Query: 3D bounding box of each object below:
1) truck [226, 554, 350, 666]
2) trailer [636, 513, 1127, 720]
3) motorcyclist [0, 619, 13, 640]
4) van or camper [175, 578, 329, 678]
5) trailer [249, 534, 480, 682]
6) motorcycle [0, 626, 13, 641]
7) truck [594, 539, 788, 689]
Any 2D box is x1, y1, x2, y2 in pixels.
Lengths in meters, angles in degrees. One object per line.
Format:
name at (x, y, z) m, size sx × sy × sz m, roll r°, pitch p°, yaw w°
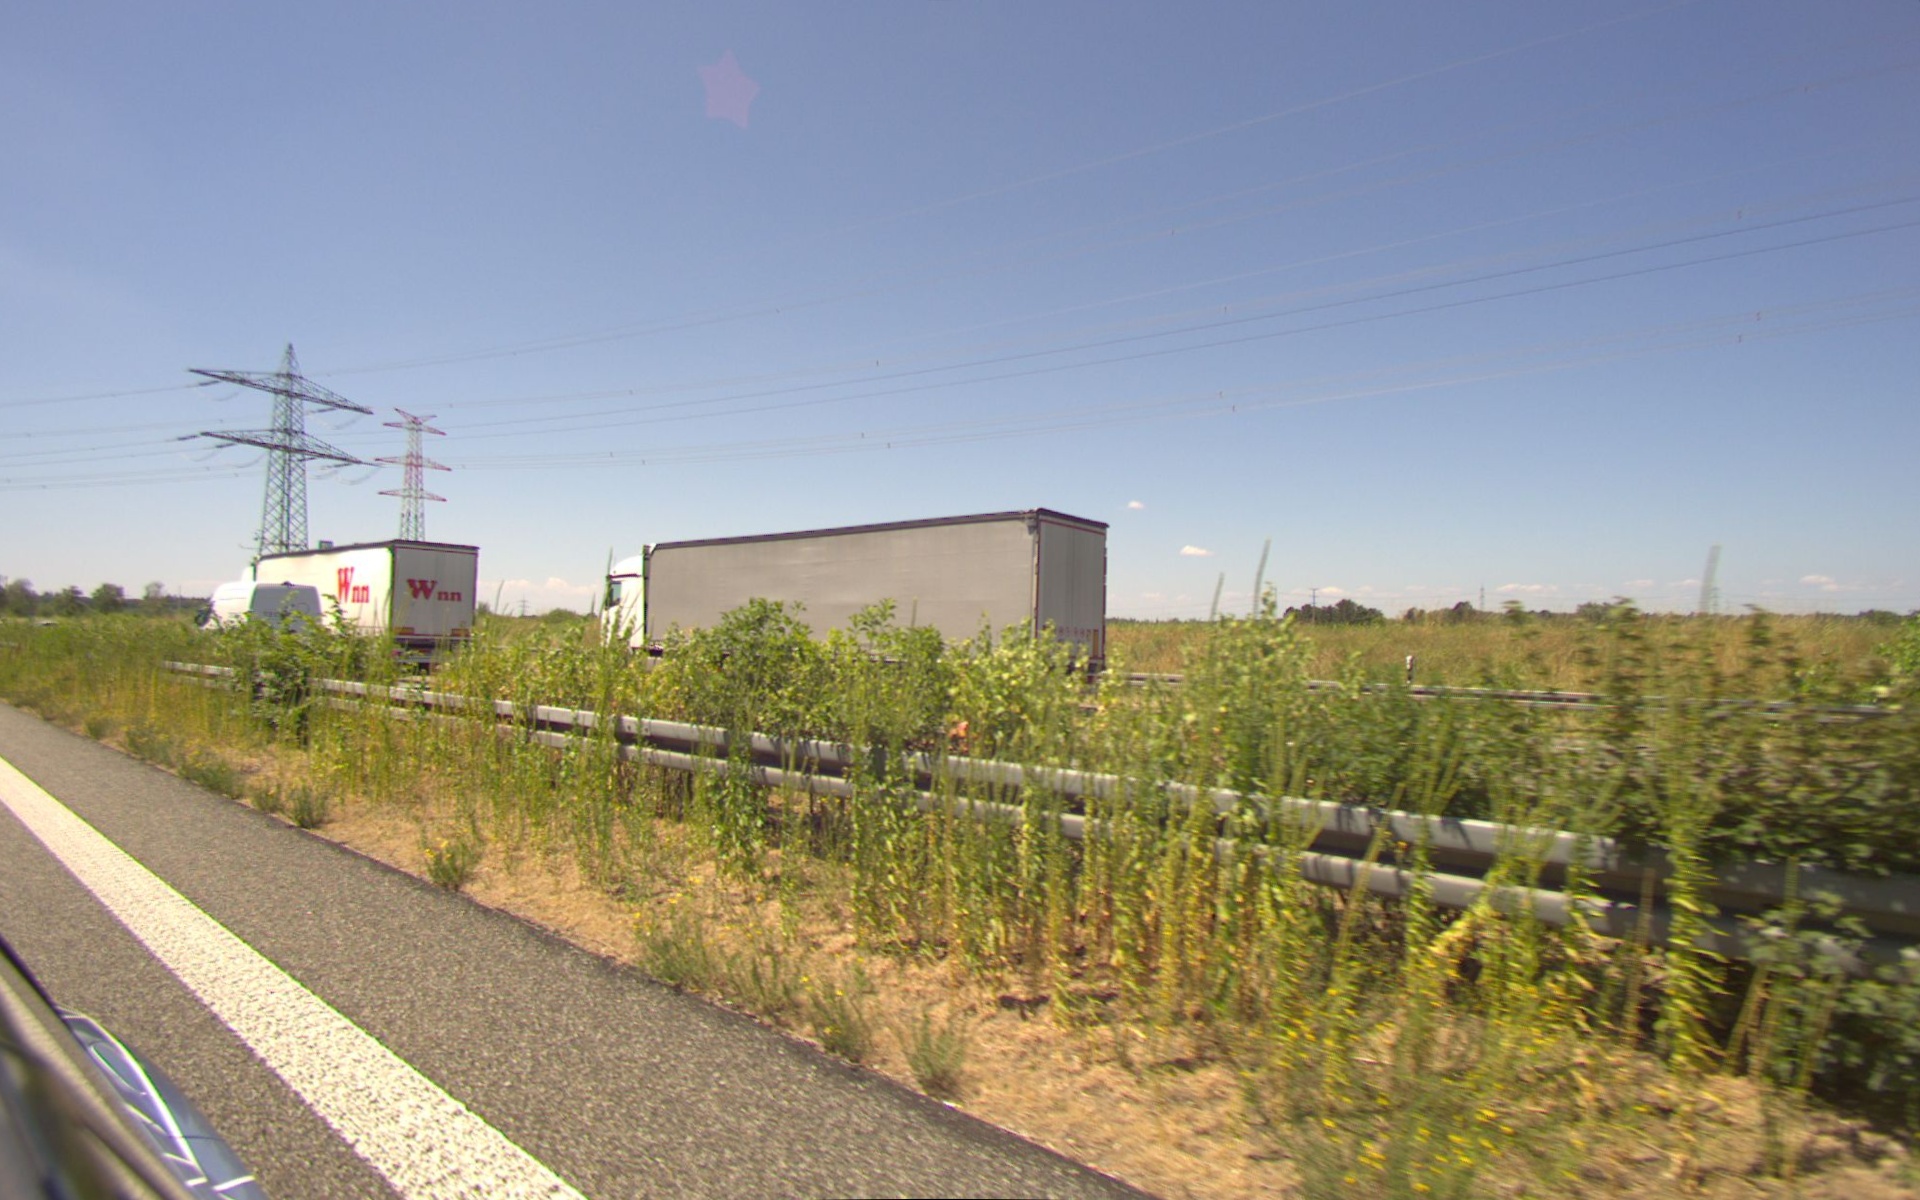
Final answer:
truck at (-26.990, 0.420, 40.580) m, size 5.567 × 4.190 × 2.776 m, roll -1°, pitch -1°, yaw 41°
trailer at (-2.798, 0.409, 24.640) m, size 14.232 × 3.858 × 2.741 m, roll -1°, pitch -1°, yaw 41°
motorcyclist at (-61.430, 1.898, 65.022) m, size 1.013 × 1.357 × 0.700 m, roll -1°, pitch -3°, yaw 40°
van or camper at (-20.912, 0.839, 29.775) m, size 6.281 × 2.602 × 1.973 m, roll -1°, pitch -7°, yaw 40°
trailer at (-21.429, 0.330, 35.693) m, size 14.233 × 4.382 × 2.740 m, roll -1°, pitch -1°, yaw 41°
motorcycle at (-61.517, 2.155, 65.057) m, size 1.845 × 0.979 × 0.691 m, roll -1°, pitch -3°, yaw 41°
truck at (-7.810, 0.412, 29.055) m, size 5.567 × 3.882 × 2.747 m, roll -1°, pitch -1°, yaw 41°
